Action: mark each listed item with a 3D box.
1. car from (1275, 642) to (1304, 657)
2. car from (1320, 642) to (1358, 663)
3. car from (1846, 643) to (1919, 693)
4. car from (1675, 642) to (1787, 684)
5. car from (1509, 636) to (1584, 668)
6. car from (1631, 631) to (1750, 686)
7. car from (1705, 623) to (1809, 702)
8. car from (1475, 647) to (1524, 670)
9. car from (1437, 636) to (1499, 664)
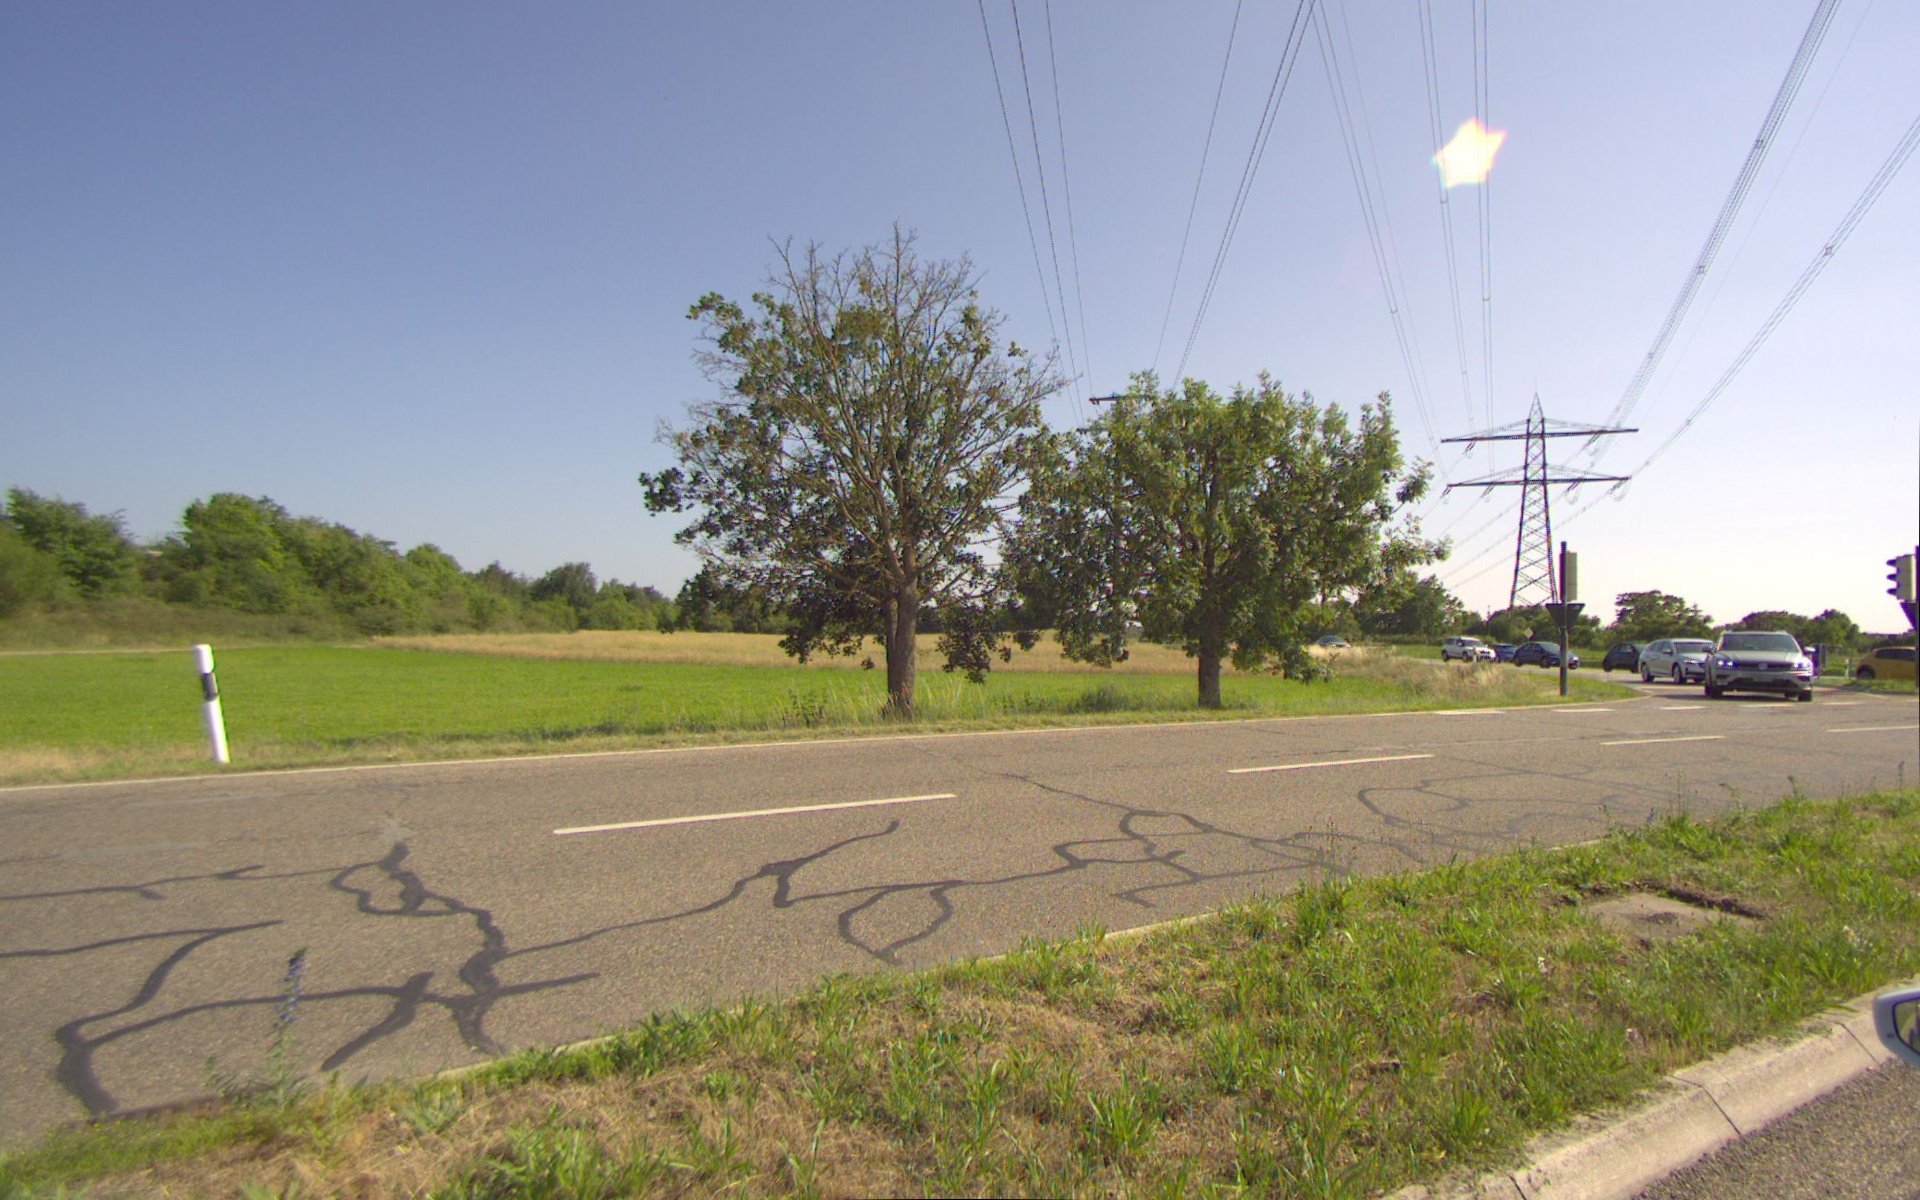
[{"bbox_3d":[37.289,5.597,113.618,1.773,1.539,3.879,1,-2,-4],"label":"car"},{"bbox_3d":[33.037,4.559,87.699,1.784,1.505,4.000,2,0,1],"label":"car"},{"bbox_3d":[33.593,2.386,35.049,1.785,1.673,4.000,1,-1,-2],"label":"car"},{"bbox_3d":[33.610,2.698,43.934,1.785,1.673,4.000,1,-1,-2],"label":"car"},{"bbox_3d":[33.065,2.914,56.734,1.785,1.673,4.000,1,-1,-2],"label":"car"},{"bbox_3d":[24.110,1.891,33.318,1.783,1.673,4.003,1,-2,13],"label":"car"},{"bbox_3d":[18.786,1.430,23.721,1.792,1.673,3.984,0,-2,38],"label":"car"},{"bbox_3d":[38.230,4.158,71.258,1.641,1.401,3.151,2,0,-4],"label":"car"},{"bbox_3d":[32.664,3.208,64.678,1.785,1.505,3.998,2,0,-3],"label":"car"}]
